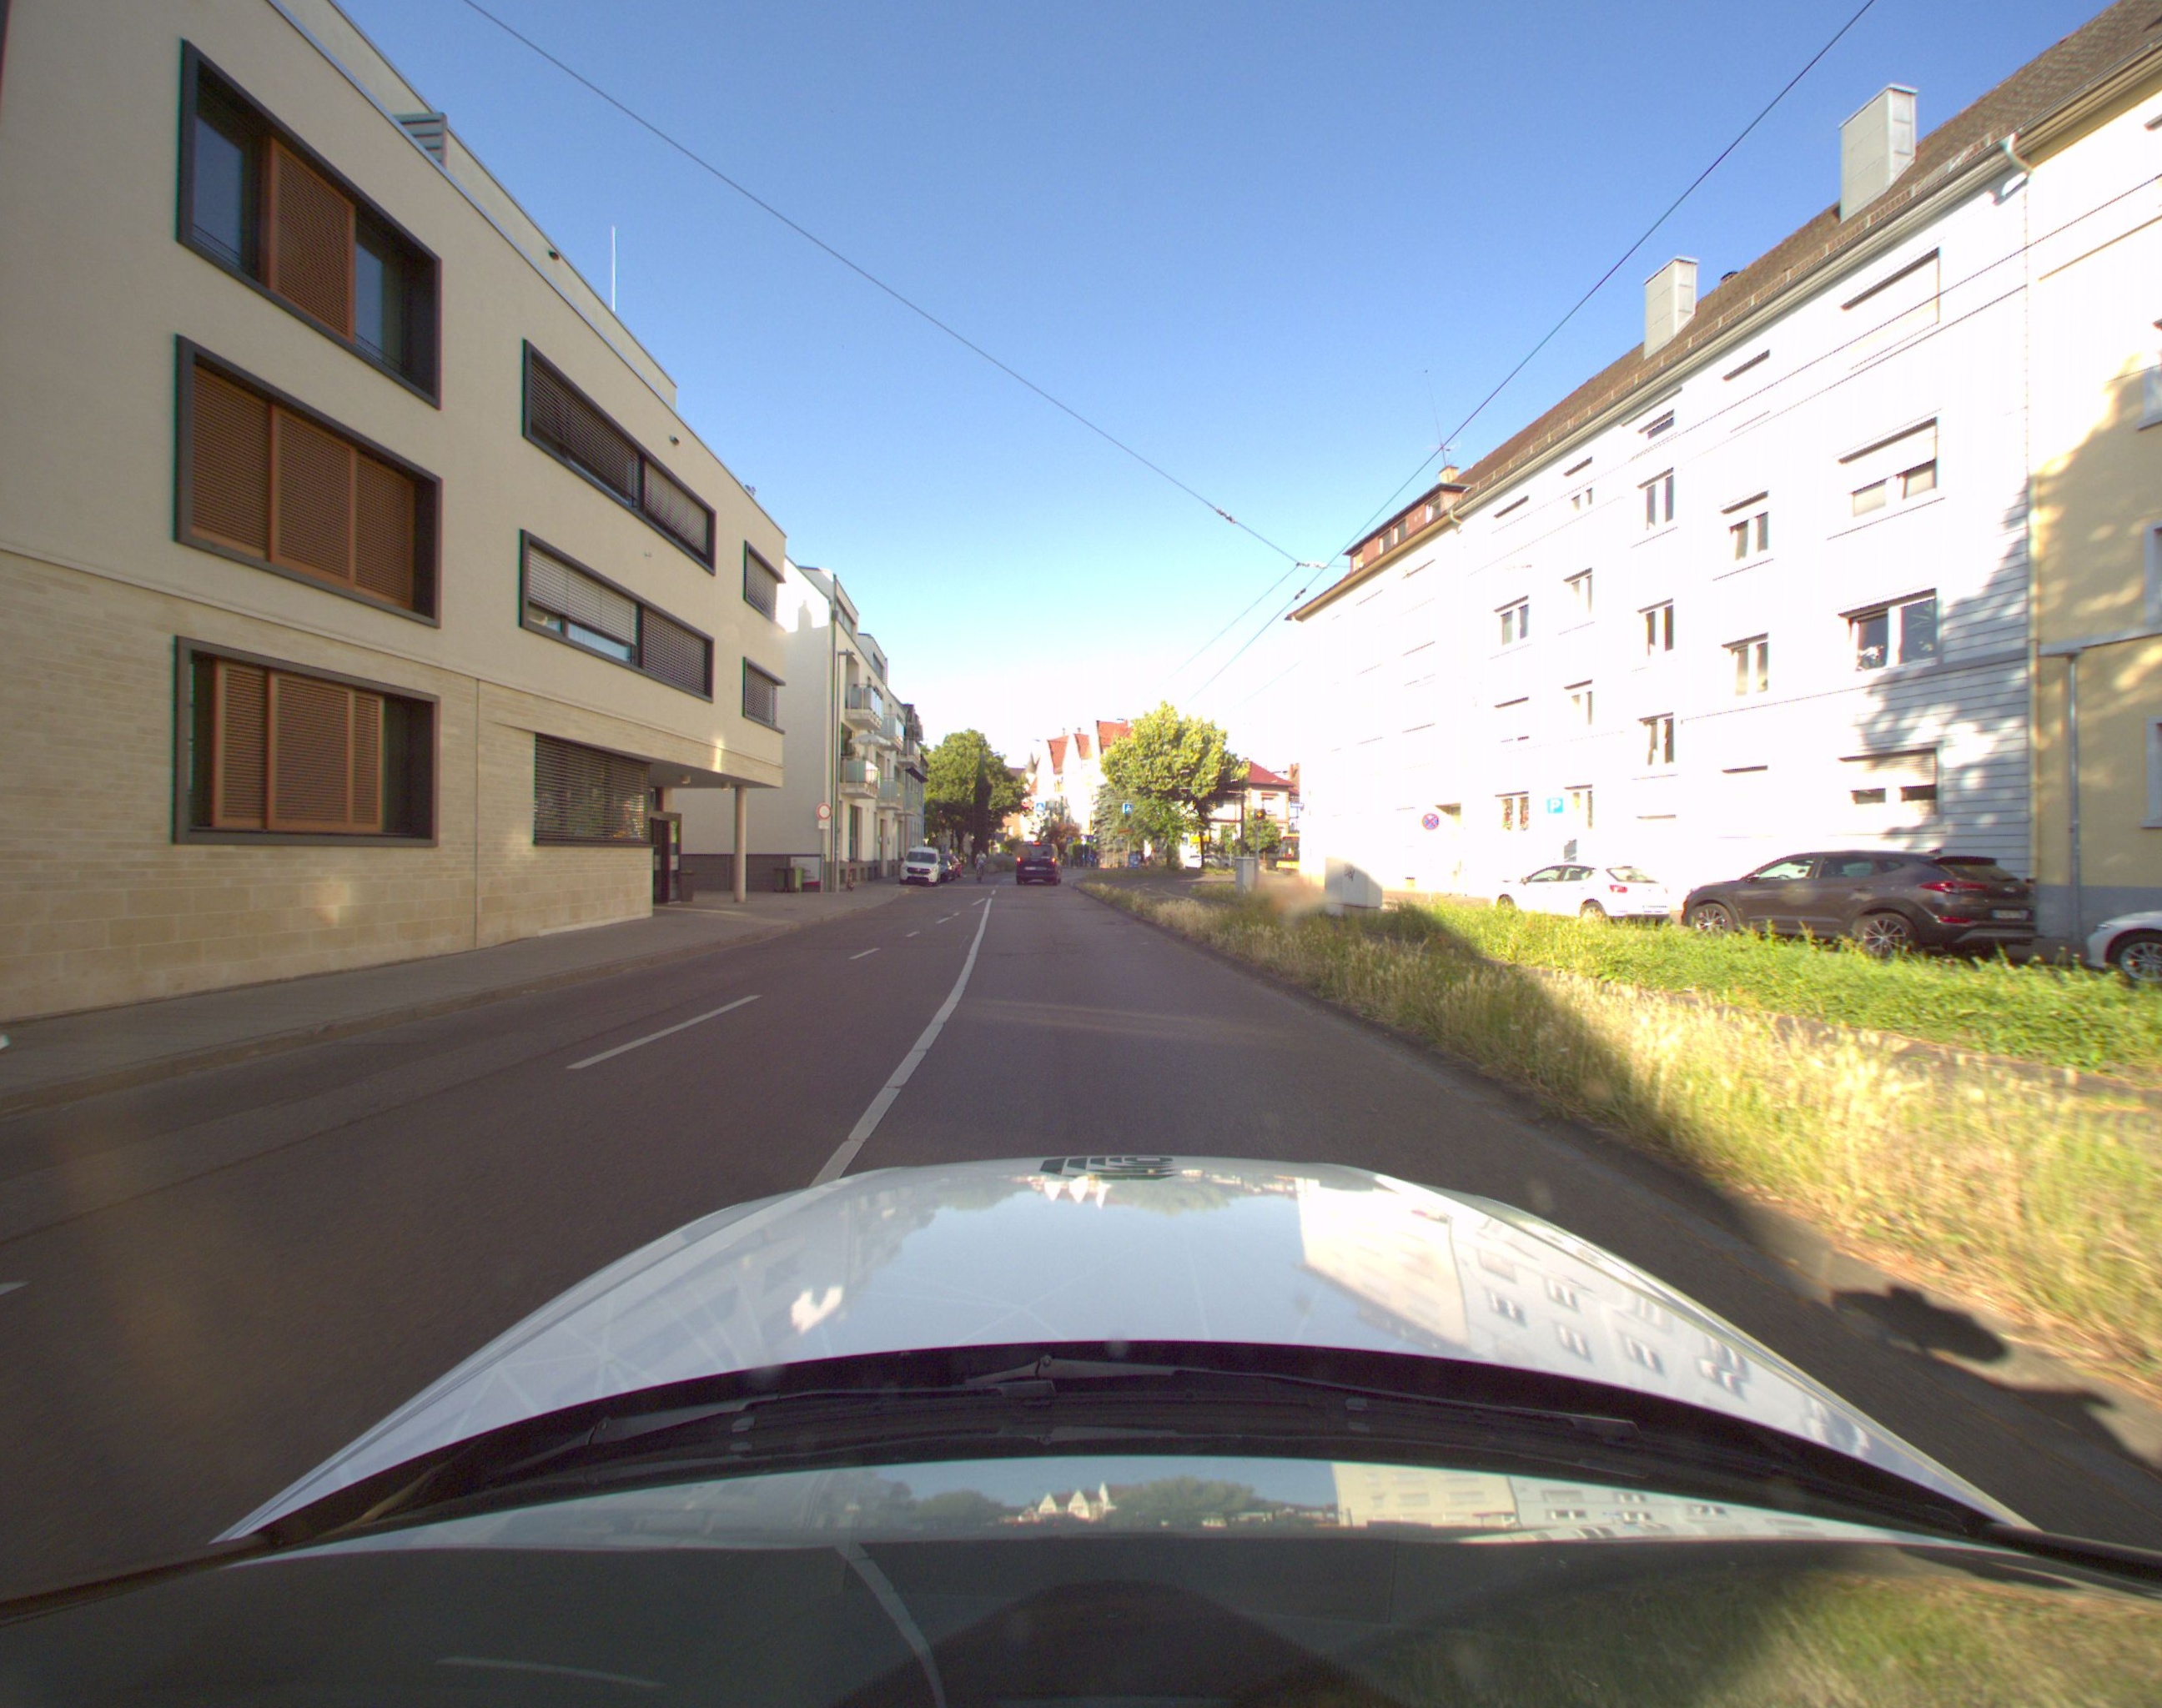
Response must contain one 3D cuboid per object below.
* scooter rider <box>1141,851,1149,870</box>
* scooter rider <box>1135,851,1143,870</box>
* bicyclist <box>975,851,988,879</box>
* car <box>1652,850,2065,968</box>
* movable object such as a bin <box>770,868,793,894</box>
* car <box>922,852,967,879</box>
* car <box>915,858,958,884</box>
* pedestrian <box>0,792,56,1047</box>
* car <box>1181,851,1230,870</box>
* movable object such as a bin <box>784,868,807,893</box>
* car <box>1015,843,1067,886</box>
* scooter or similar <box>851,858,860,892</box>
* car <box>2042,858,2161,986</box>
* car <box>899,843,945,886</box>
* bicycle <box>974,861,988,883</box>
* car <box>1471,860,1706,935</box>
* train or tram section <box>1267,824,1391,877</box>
[{"bbox_3d":[5.601,0.565,71.035,0.605,1.672,0.653,-1,0,-5],"label":"scooter rider"},{"bbox_3d":[5.030,0.564,71.027,0.605,1.672,0.653,-1,0,-5],"label":"scooter rider"},{"bbox_3d":[-5.108,0.554,41.752,0.621,1.380,0.800,-1,-1,-5],"label":"bicyclist"},{"bbox_3d":[12.327,0.762,13.461,1.995,1.572,4.622,-1,0,-12],"label":"car"},{"bbox_3d":[-10.736,0.975,29.244,0.544,0.901,0.533,0,-1,18],"label":"movable object such as a bin"},{"bbox_3d":[-8.289,0.675,49.756,1.702,1.466,4.595,2,1,2],"label":"car"},{"bbox_3d":[-7.710,0.877,43.721,1.660,1.273,4.022,2,-1,-2],"label":"car"},{"bbox_3d":[-8.142,0.470,5.704,0.603,1.849,0.993,1,-1,2],"label":"pedestrian"},{"bbox_3d":[10.298,0.519,67.318,3.703,1.505,1.942,-1,0,-38],"label":"car"},{"bbox_3d":[-10.199,0.944,29.070,0.544,0.901,0.533,0,-1,18],"label":"movable object such as a bin"},{"bbox_3d":[-1.920,0.471,40.060,1.984,2.013,4.006,1,0,5],"label":"car"},{"bbox_3d":[-8.640,0.794,31.173,0.225,1.220,1.147,1,1,-19],"label":"scooter or similar"},{"bbox_3d":[13.326,0.786,8.142,1.995,1.386,4.428,-1,1,-12],"label":"car"},{"bbox_3d":[-7.519,0.474,38.762,1.809,1.869,4.321,2,-1,-7],"label":"car"},{"bbox_3d":[-5.104,0.916,41.714,0.621,1.081,1.781,-1,0,-4],"label":"bicycle"},{"bbox_3d":[11.326,0.879,18.607,1.997,1.386,4.423,-1,1,-15],"label":"car"},{"bbox_3d":[17.953,-0.224,58.560,9.956,3.555,2.756,0,0,-33],"label":"train or tram section"}]
